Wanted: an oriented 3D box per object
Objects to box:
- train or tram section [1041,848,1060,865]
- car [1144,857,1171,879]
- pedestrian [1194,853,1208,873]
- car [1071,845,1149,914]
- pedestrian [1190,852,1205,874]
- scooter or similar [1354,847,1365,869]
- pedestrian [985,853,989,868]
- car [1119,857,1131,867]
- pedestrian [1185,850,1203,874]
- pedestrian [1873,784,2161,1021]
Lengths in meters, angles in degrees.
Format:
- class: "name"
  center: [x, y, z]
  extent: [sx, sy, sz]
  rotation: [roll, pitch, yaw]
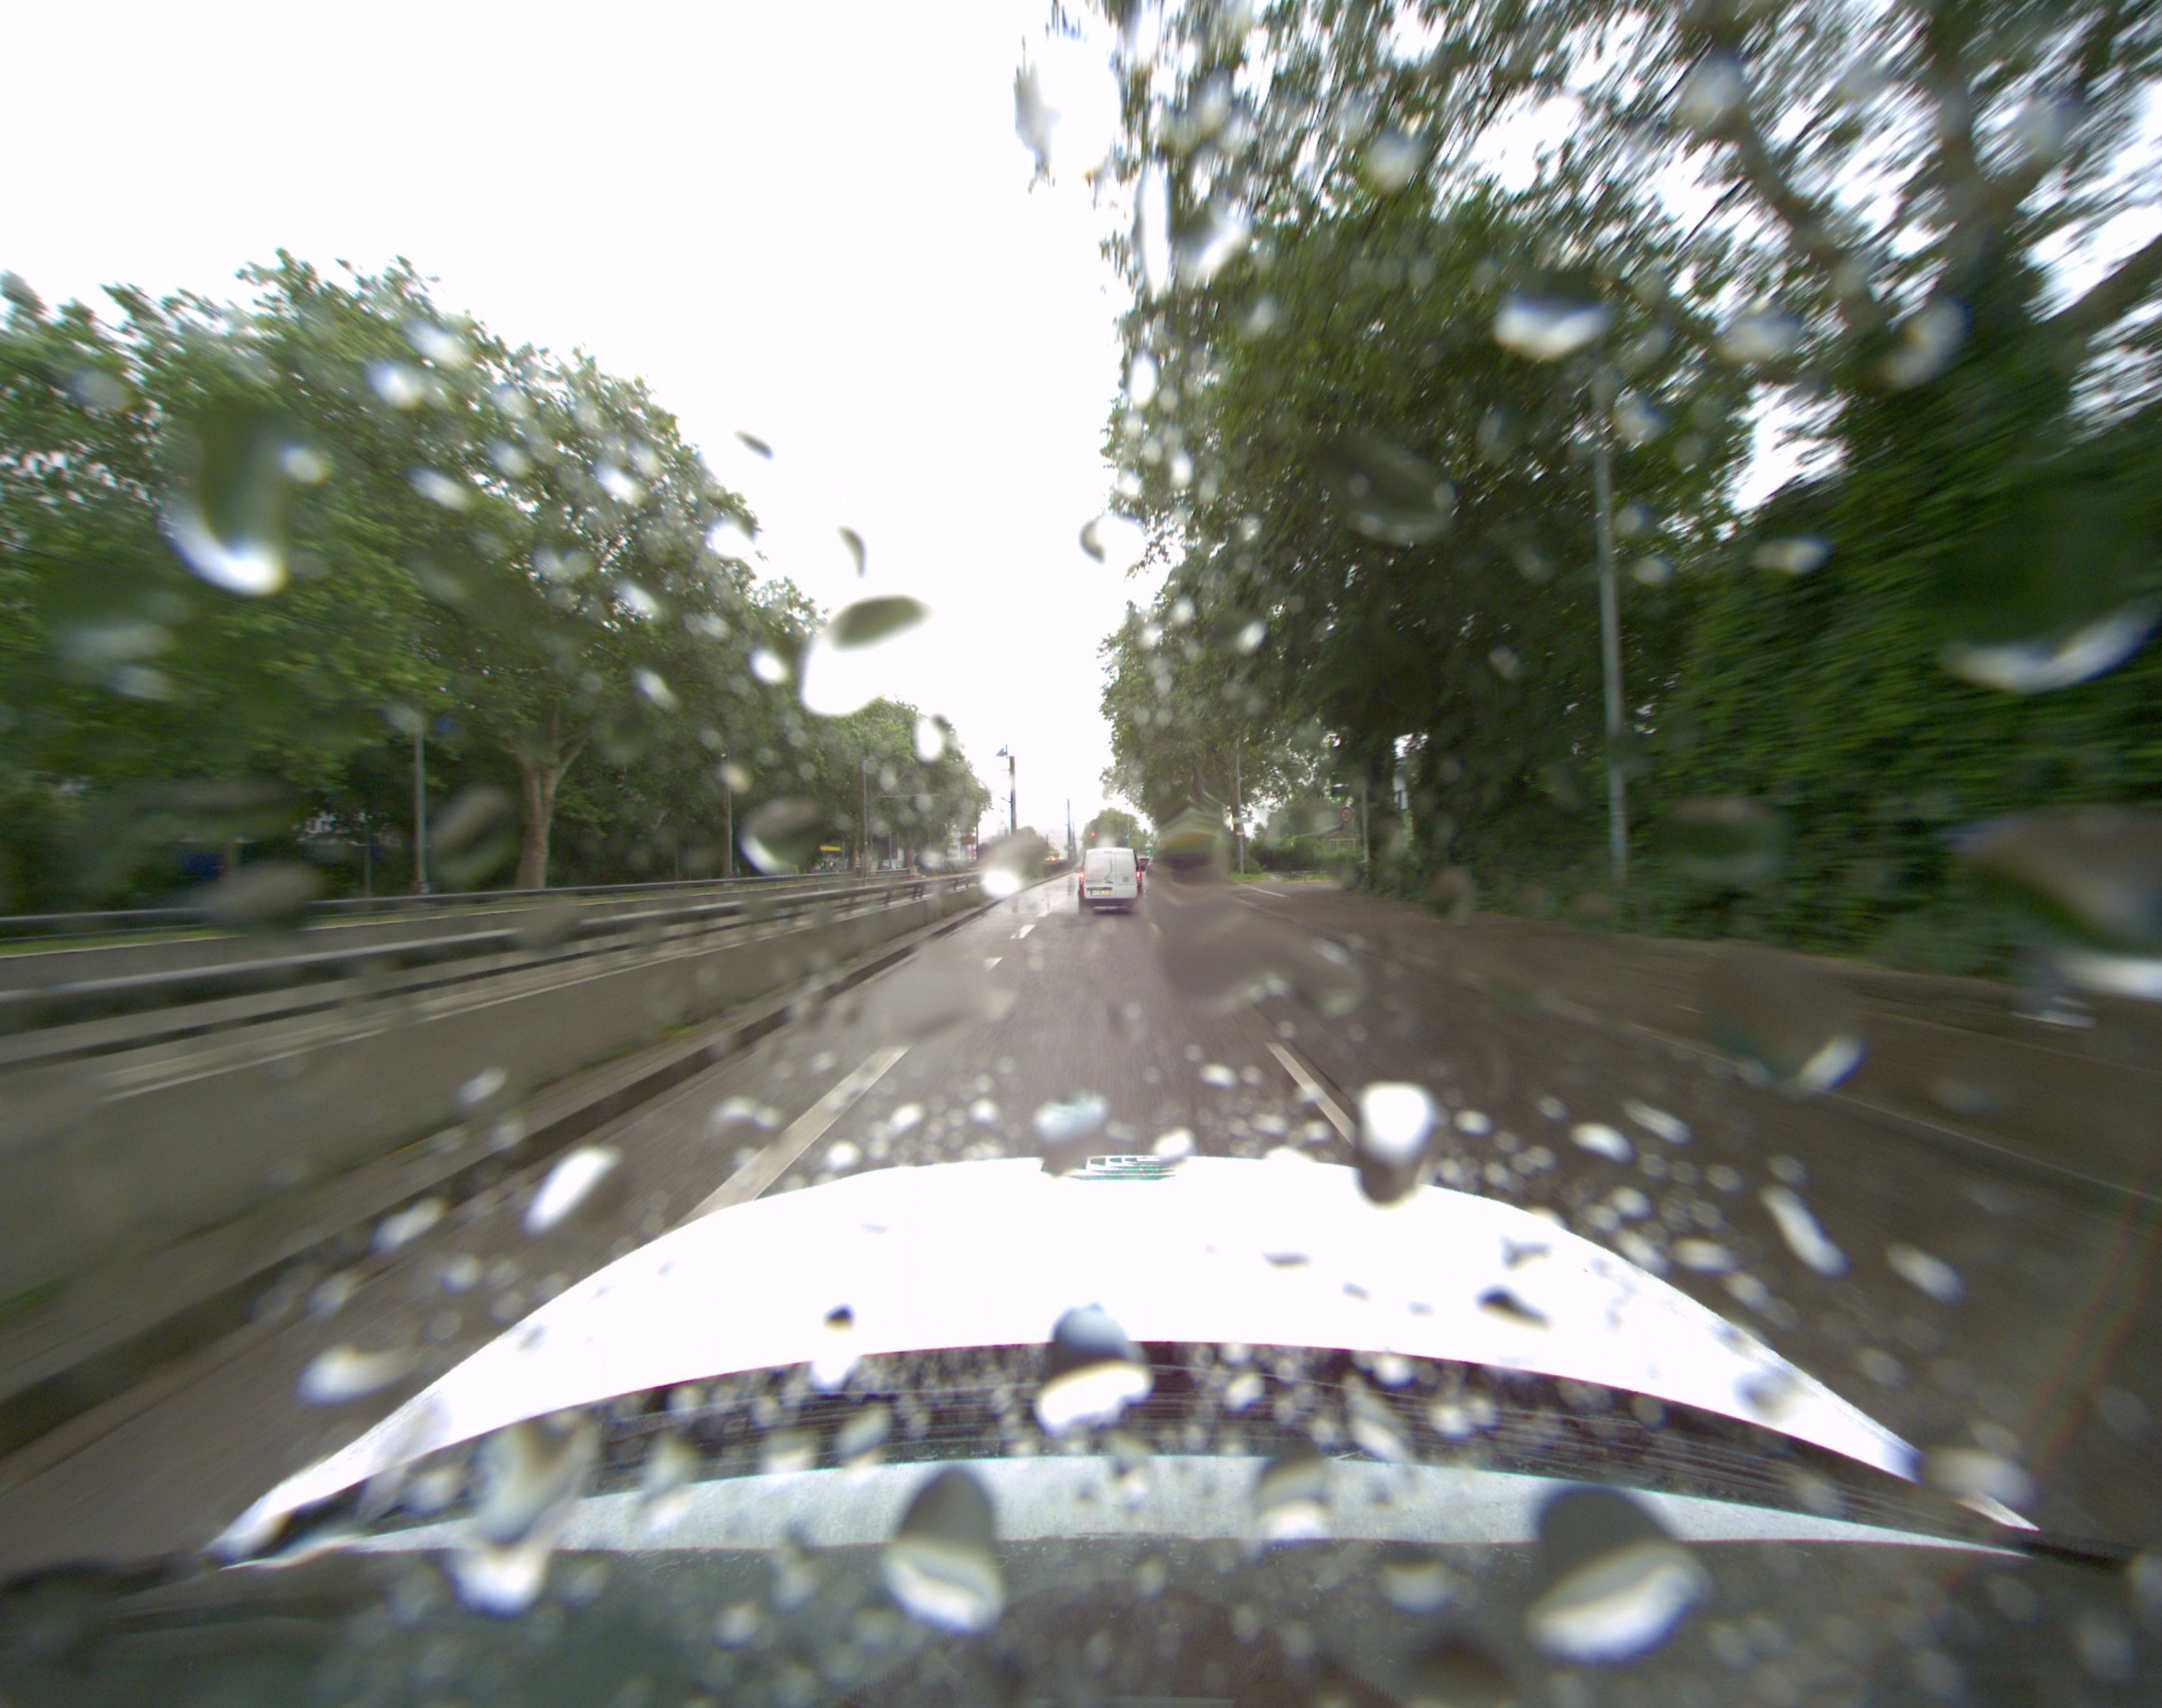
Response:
- class: "train or tram section"
  center: [-7.934, 0.767, 215.403]
  extent: [3.757, 4.036, 27.092]
  rotation: [1, 0, 1]
- class: "car"
  center: [6.215, 1.109, 66.204]
  extent: [1.986, 1.750, 4.002]
  rotation: [1, 0, 2]
- class: "pedestrian"
  center: [8.883, 0.649, 60.318]
  extent: [0.888, 1.390, 1.017]
  rotation: [-3, -1, 3]
- class: "car"
  center: [0.766, 0.686, 23.505]
  extent: [2.018, 1.775, 4.273]
  rotation: [1, 0, 0]
- class: "pedestrian"
  center: [8.916, 0.688, 62.429]
  extent: [0.943, 1.589, 1.295]
  rotation: [-2, -1, 3]
- class: "scooter or similar"
  center: [14.822, 0.225, 43.308]
  extent: [0.455, 1.117, 1.280]
  rotation: [1, -1, 15]
- class: "pedestrian"
  center: [-12.362, 0.843, 106.956]
  extent: [0.492, 2.014, 0.581]
  rotation: [1, -1, -6]
- class: "car"
  center: [8.046, 1.420, 148.640]
  extent: [1.986, 1.750, 4.001]
  rotation: [1, 0, 1]
- class: "pedestrian"
  center: [8.920, 0.618, 64.359]
  extent: [1.235, 1.785, 1.148]
  rotation: [-5, -1, 3]
- class: "pedestrian"
  center: [7.388, 0.354, 6.508]
  extent: [0.963, 1.702, 1.141]
  rotation: [-2, -1, 1]
